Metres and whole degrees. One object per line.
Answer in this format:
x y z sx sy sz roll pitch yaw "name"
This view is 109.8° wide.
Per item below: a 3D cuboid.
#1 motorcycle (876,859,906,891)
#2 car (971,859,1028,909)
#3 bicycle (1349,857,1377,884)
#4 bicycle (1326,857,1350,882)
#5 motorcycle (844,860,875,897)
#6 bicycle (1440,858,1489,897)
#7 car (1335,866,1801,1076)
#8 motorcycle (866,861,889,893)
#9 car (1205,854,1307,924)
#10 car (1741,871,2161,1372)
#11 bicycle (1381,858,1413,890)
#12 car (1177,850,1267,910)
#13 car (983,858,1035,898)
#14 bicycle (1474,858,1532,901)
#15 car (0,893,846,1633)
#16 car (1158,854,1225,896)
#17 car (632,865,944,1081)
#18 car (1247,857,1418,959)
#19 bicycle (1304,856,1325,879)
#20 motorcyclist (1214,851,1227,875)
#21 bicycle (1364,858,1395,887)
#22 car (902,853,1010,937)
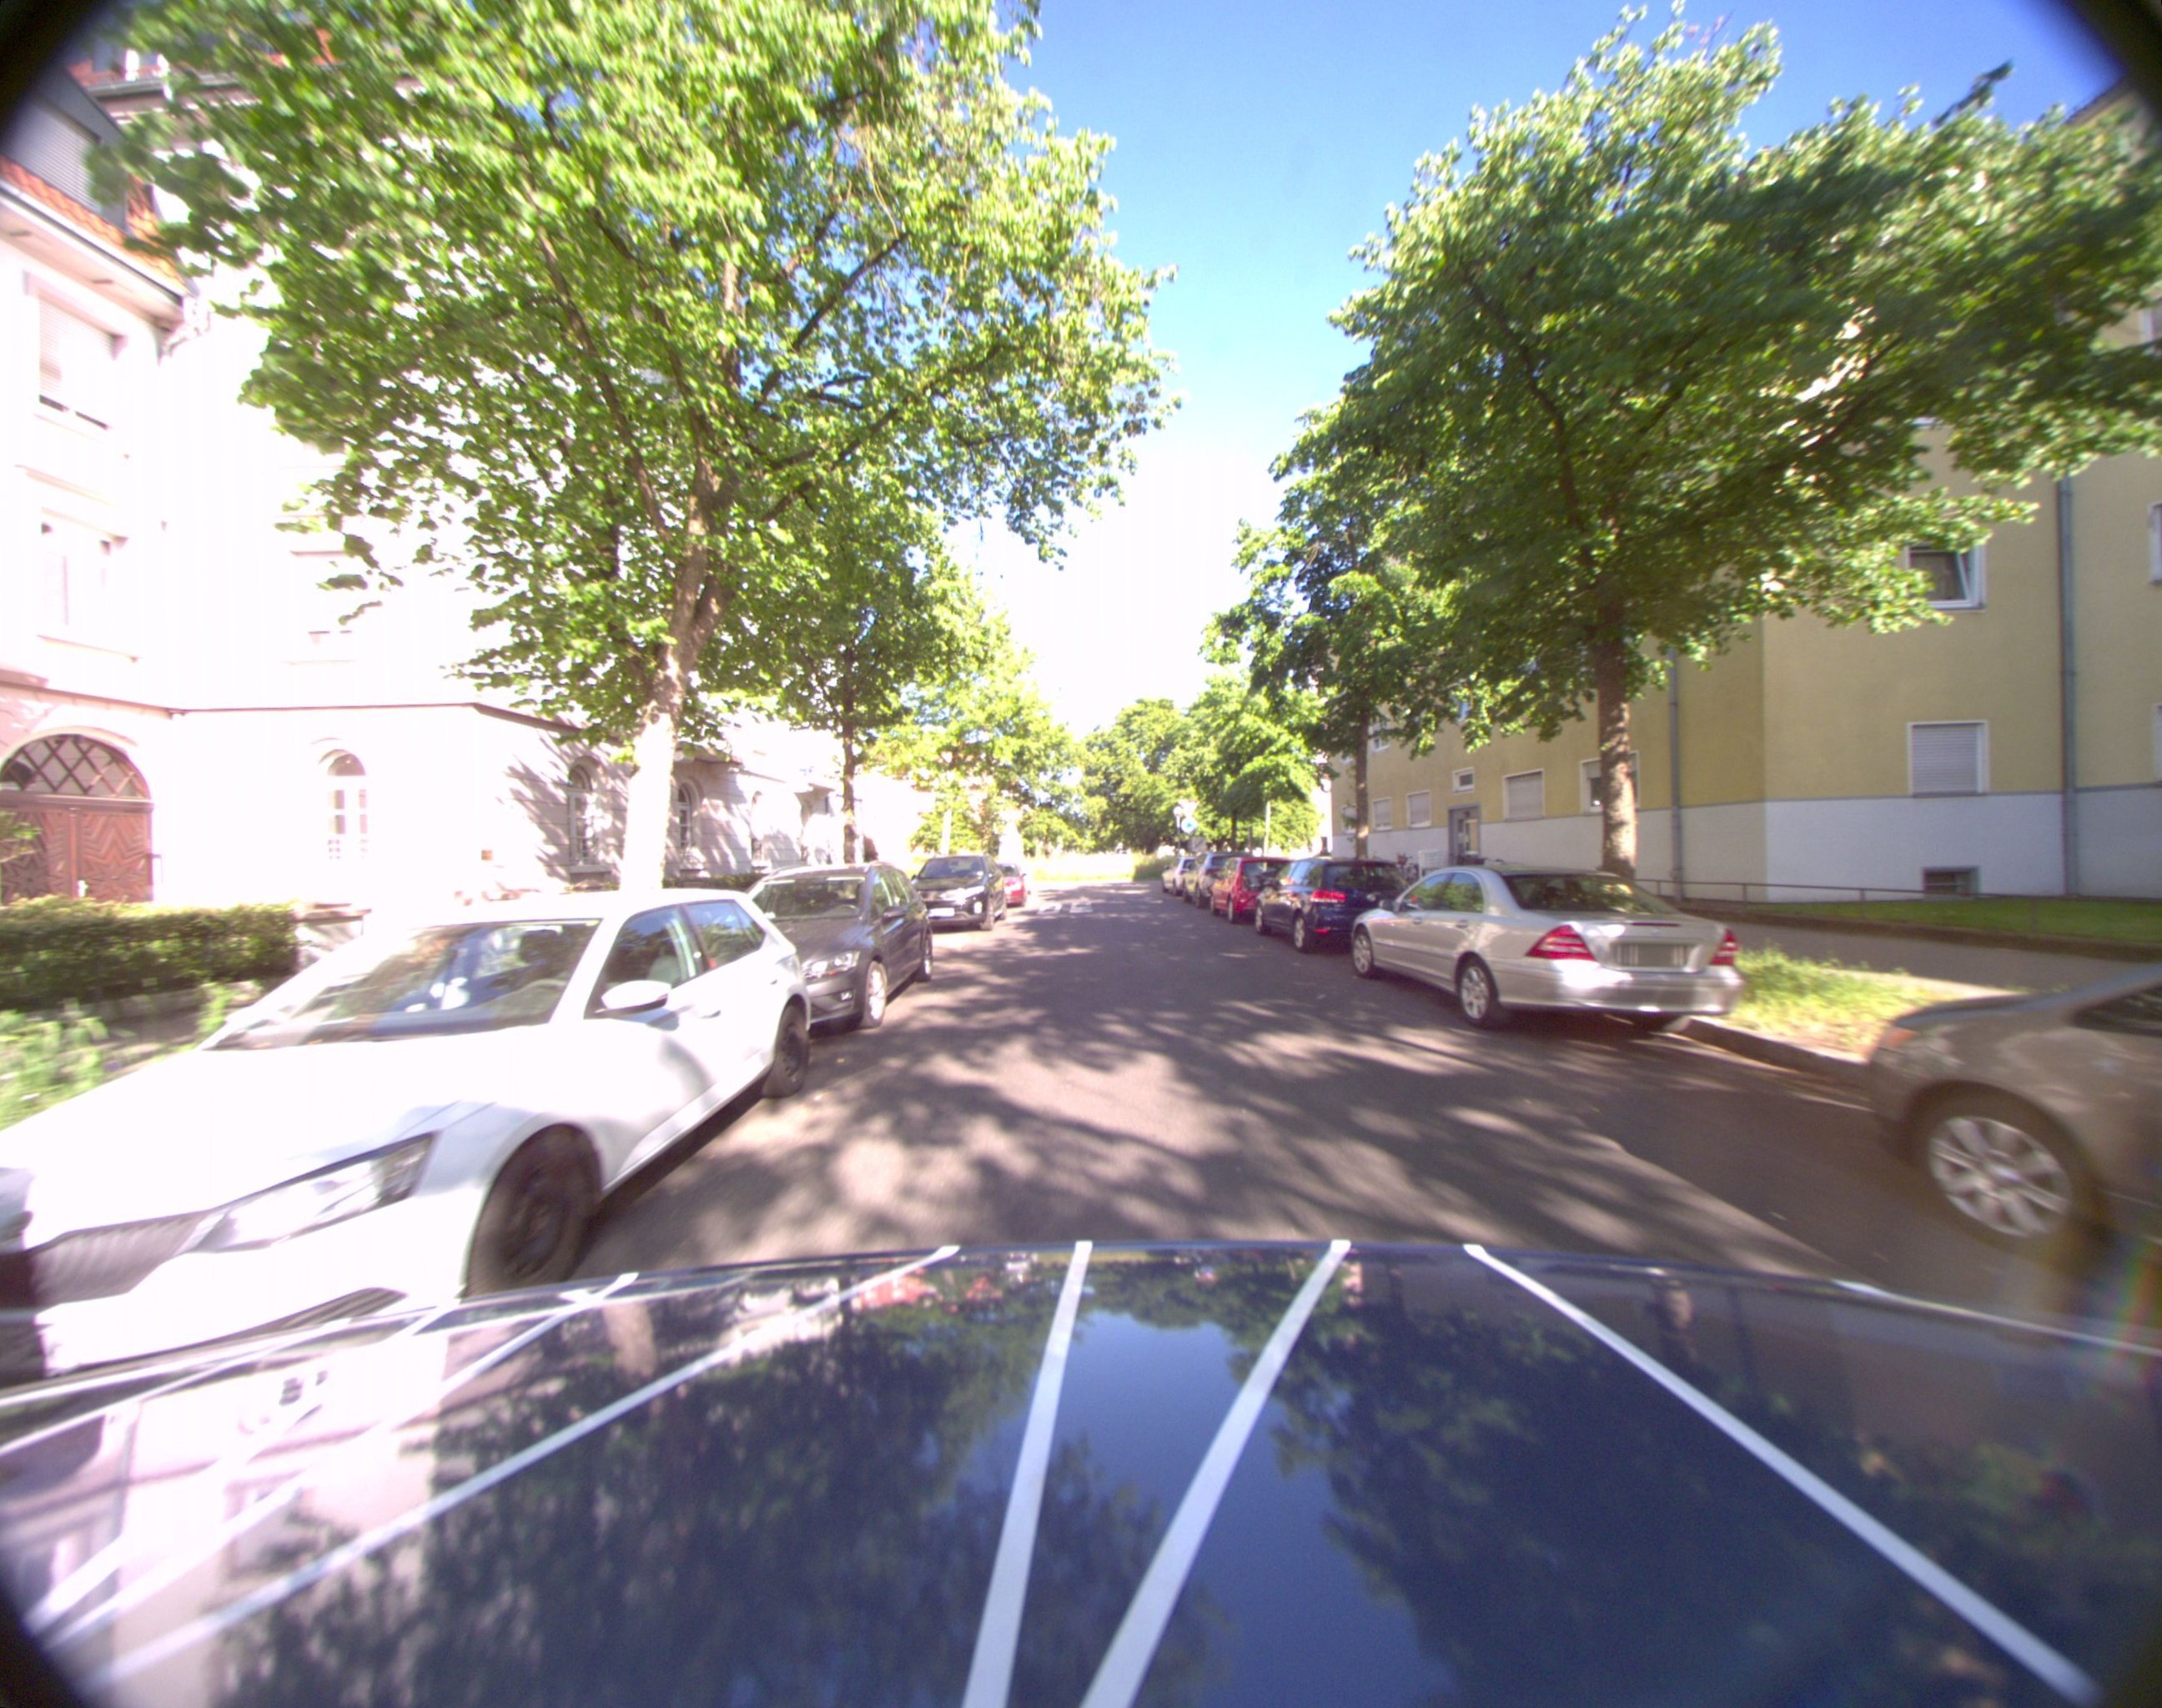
-8.388 0.922 33.595 0.973 1.321 1.852 -2 1 -5 "motorcycle"
-2.573 0.914 24.841 1.616 1.401 4.350 -1 0 -3 "car"
10.688 0.613 28.832 0.435 0.995 1.681 -1 0 1 "bicycle"
10.552 0.624 31.247 0.454 0.995 1.545 -1 0 1 "bicycle"
-8.540 0.912 29.363 0.540 1.353 2.089 -2 0 0 "motorcycle"
10.704 0.635 21.269 0.541 1.021 1.748 -1 0 2 "bicycle"
4.191 0.859 7.660 1.750 1.361 4.674 -1 0 1 "car"
-8.485 0.947 31.725 0.658 1.272 1.799 0 0 -6 "motorcycle"
4.042 0.756 18.037 1.669 1.477 3.256 -1 0 1 "car"
4.144 0.859 1.723 1.624 1.506 4.269 1 0 1 "car"
10.494 0.652 25.283 0.516 0.995 1.545 -1 0 4 "bicycle"
4.057 0.698 22.620 1.696 1.556 4.735 -1 0 -1 "car"
-2.740 0.878 29.679 1.657 1.394 4.135 -1 0 0 "car"
10.696 0.629 19.336 0.537 1.021 1.748 -1 0 2 "bicycle"
-2.725 1.042 3.886 1.634 1.417 4.368 -1 0 1 "car"
4.143 0.755 29.041 1.765 1.434 3.993 -1 0 -3 "car"
-2.802 1.010 8.482 1.688 1.579 4.535 -4 0 -1 "car"
4.135 0.801 13.137 1.669 1.450 3.932 -1 0 1 "car"
10.622 0.610 34.574 0.477 0.995 1.545 -1 0 1 "bicycle"
8.251 0.519 44.900 0.520 1.395 0.553 -2 1 -36 "motorcyclist"
10.568 0.634 26.950 0.513 0.995 1.545 -1 0 1 "bicycle"
-2.770 0.837 17.741 1.785 1.688 4.297 -1 0 0 "car"
